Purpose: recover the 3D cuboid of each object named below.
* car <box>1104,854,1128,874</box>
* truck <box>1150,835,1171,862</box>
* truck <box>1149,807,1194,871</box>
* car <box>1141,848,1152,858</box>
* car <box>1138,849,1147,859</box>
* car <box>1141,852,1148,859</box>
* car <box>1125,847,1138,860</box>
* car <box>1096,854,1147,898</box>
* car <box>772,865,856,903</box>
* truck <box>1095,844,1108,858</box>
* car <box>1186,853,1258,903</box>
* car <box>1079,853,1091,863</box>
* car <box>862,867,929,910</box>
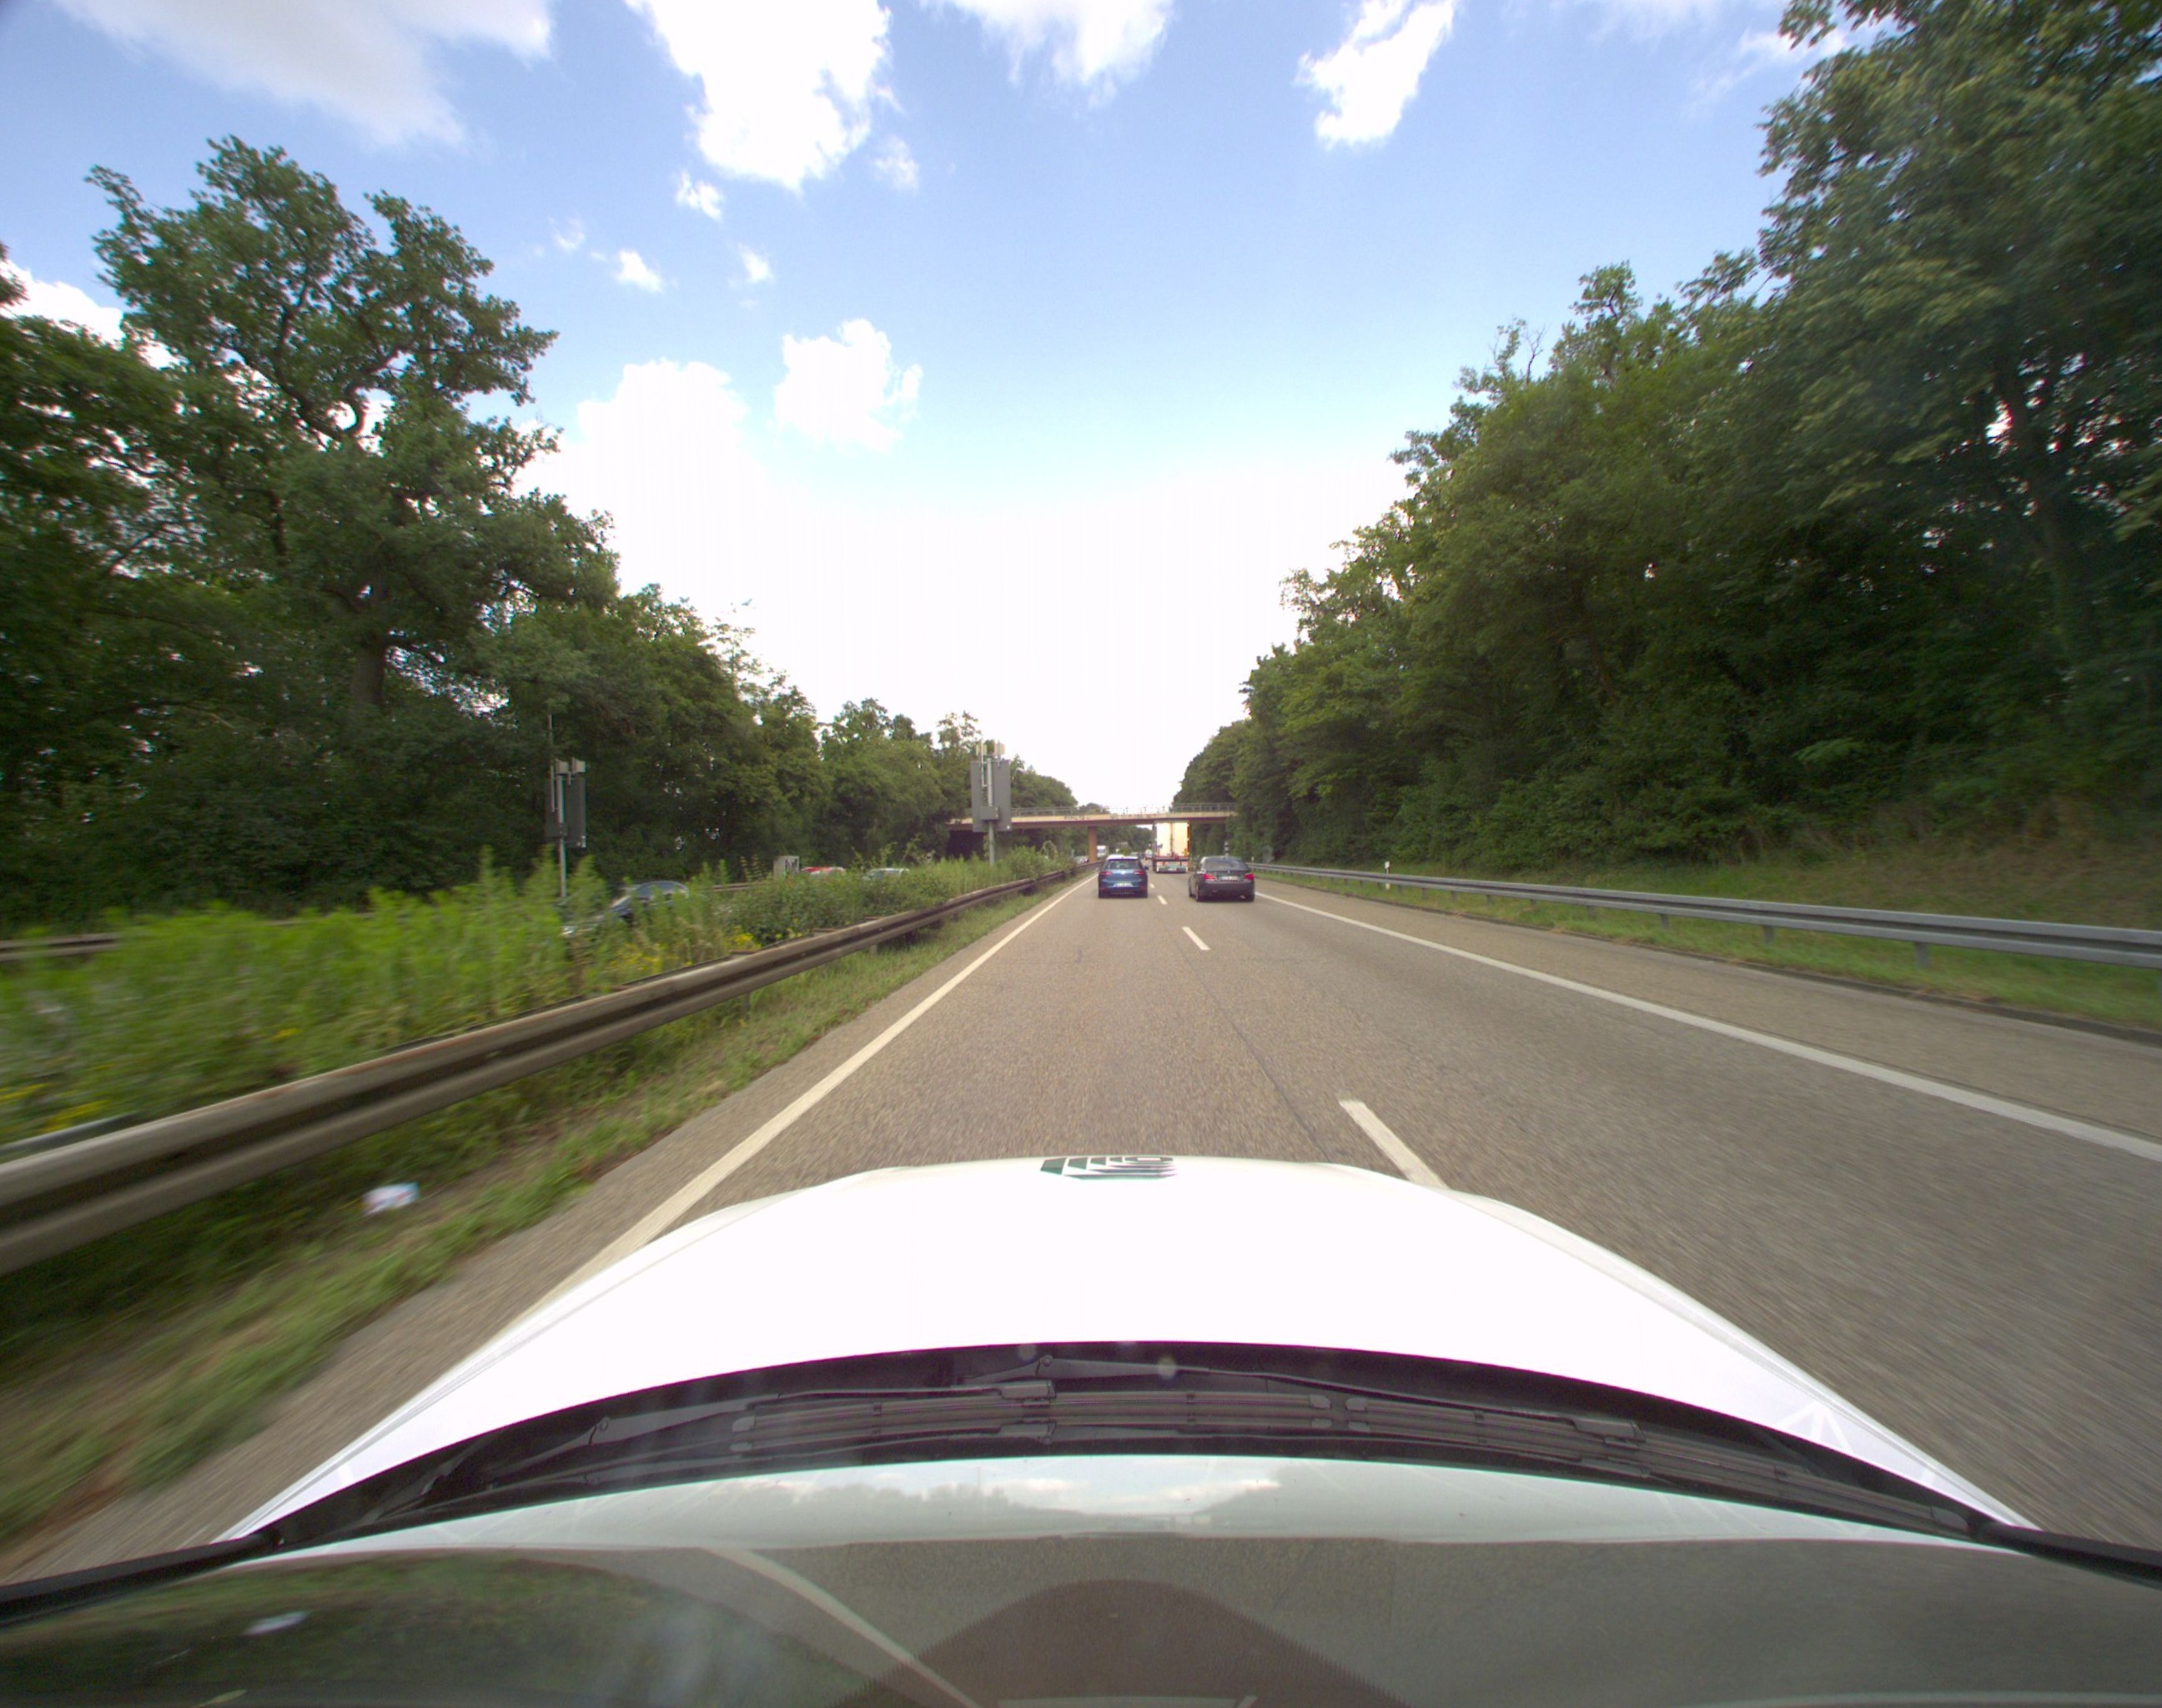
[{"bbox_3d":[2.825,0.780,64.916,1.657,1.500,4.158,-1,0,5],"label":"car"},{"bbox_3d":[13.654,-0.855,140.598,3.218,4.386,12.983,-1,-1,4],"label":"truck"},{"bbox_3d":[7.431,-1.136,66.322,3.224,4.716,11.029,-2,0,7],"label":"truck"},{"bbox_3d":[14.244,-0.199,177.245,1.985,2.255,4.445,-2,0,3],"label":"car"},{"bbox_3d":[15.229,-0.001,201.237,1.985,2.327,4.445,-2,0,3],"label":"car"},{"bbox_3d":[20.200,0.525,258.111,1.985,2.255,4.445,-2,0,3],"label":"car"},{"bbox_3d":[8.048,-0.133,129.213,1.945,2.013,4.005,-2,0,4],"label":"car"},{"bbox_3d":[1.544,0.747,29.536,1.697,1.470,4.005,0,0,5],"label":"car"},{"bbox_3d":[-10.846,1.183,33.418,1.855,1.353,4.253,-2,0,2],"label":"car"},{"bbox_3d":[5.959,-0.846,231.715,3.025,3.986,6.759,-2,0,6],"label":"truck"},{"bbox_3d":[4.573,0.727,27.067,1.767,1.475,4.883,0,0,3],"label":"car"},{"bbox_3d":[0.700,0.671,143.681,1.857,1.589,4.569,-2,0,3],"label":"car"},{"bbox_3d":[-6.910,1.260,30.665,1.608,1.423,3.325,-2,0,2],"label":"car"}]
